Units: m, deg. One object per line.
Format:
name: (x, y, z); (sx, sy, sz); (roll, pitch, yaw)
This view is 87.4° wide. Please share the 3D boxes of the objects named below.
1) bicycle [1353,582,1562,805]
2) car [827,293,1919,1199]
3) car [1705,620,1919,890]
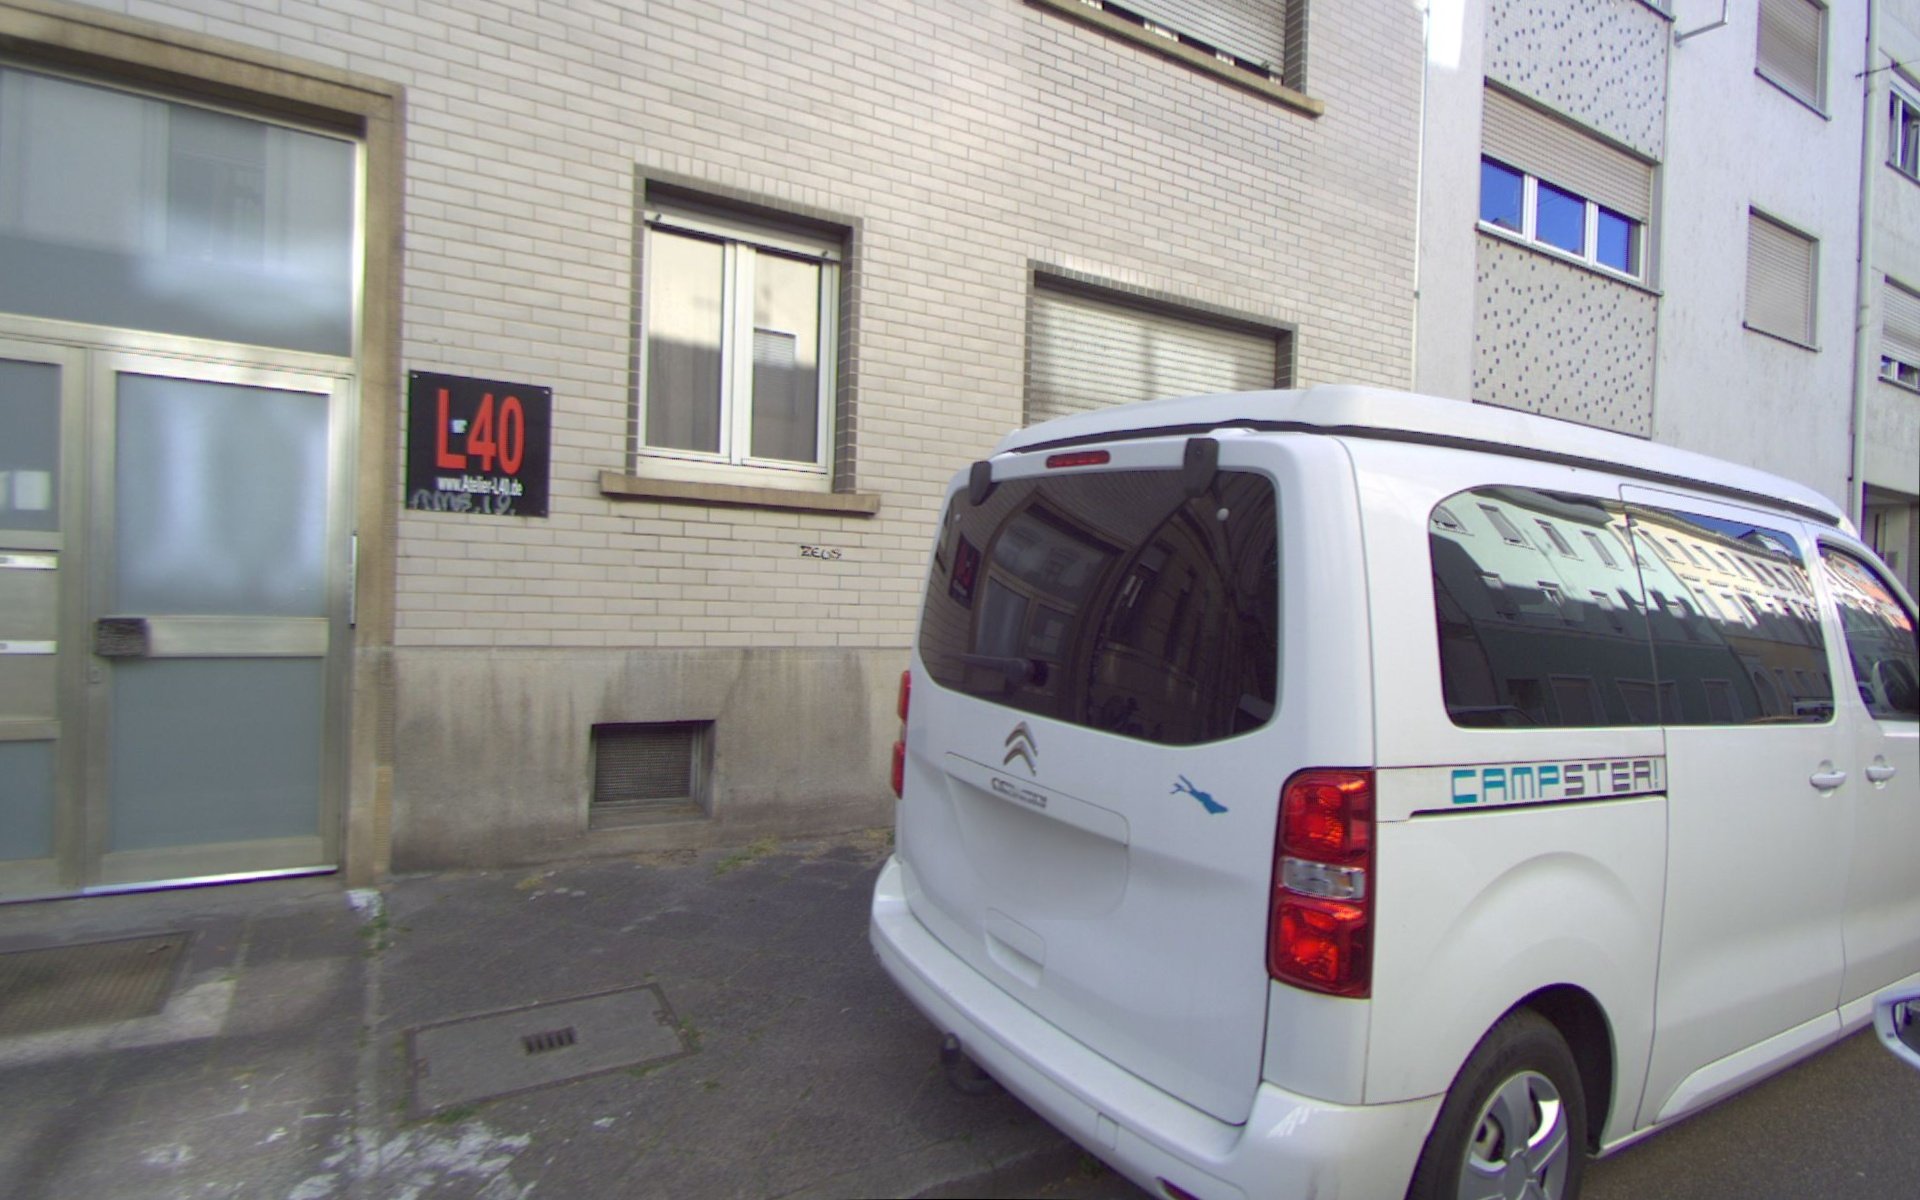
bicycle: (3.824, 0.666, 7.662); (1.782, 1.529, 0.553); (2, 2, -34)
car: (2.090, 0.517, 3.661); (4.729, 1.985, 1.883); (1, 2, -33)
car: (7.102, 0.945, 6.912); (4.253, 1.469, 1.697); (2, 0, -32)
